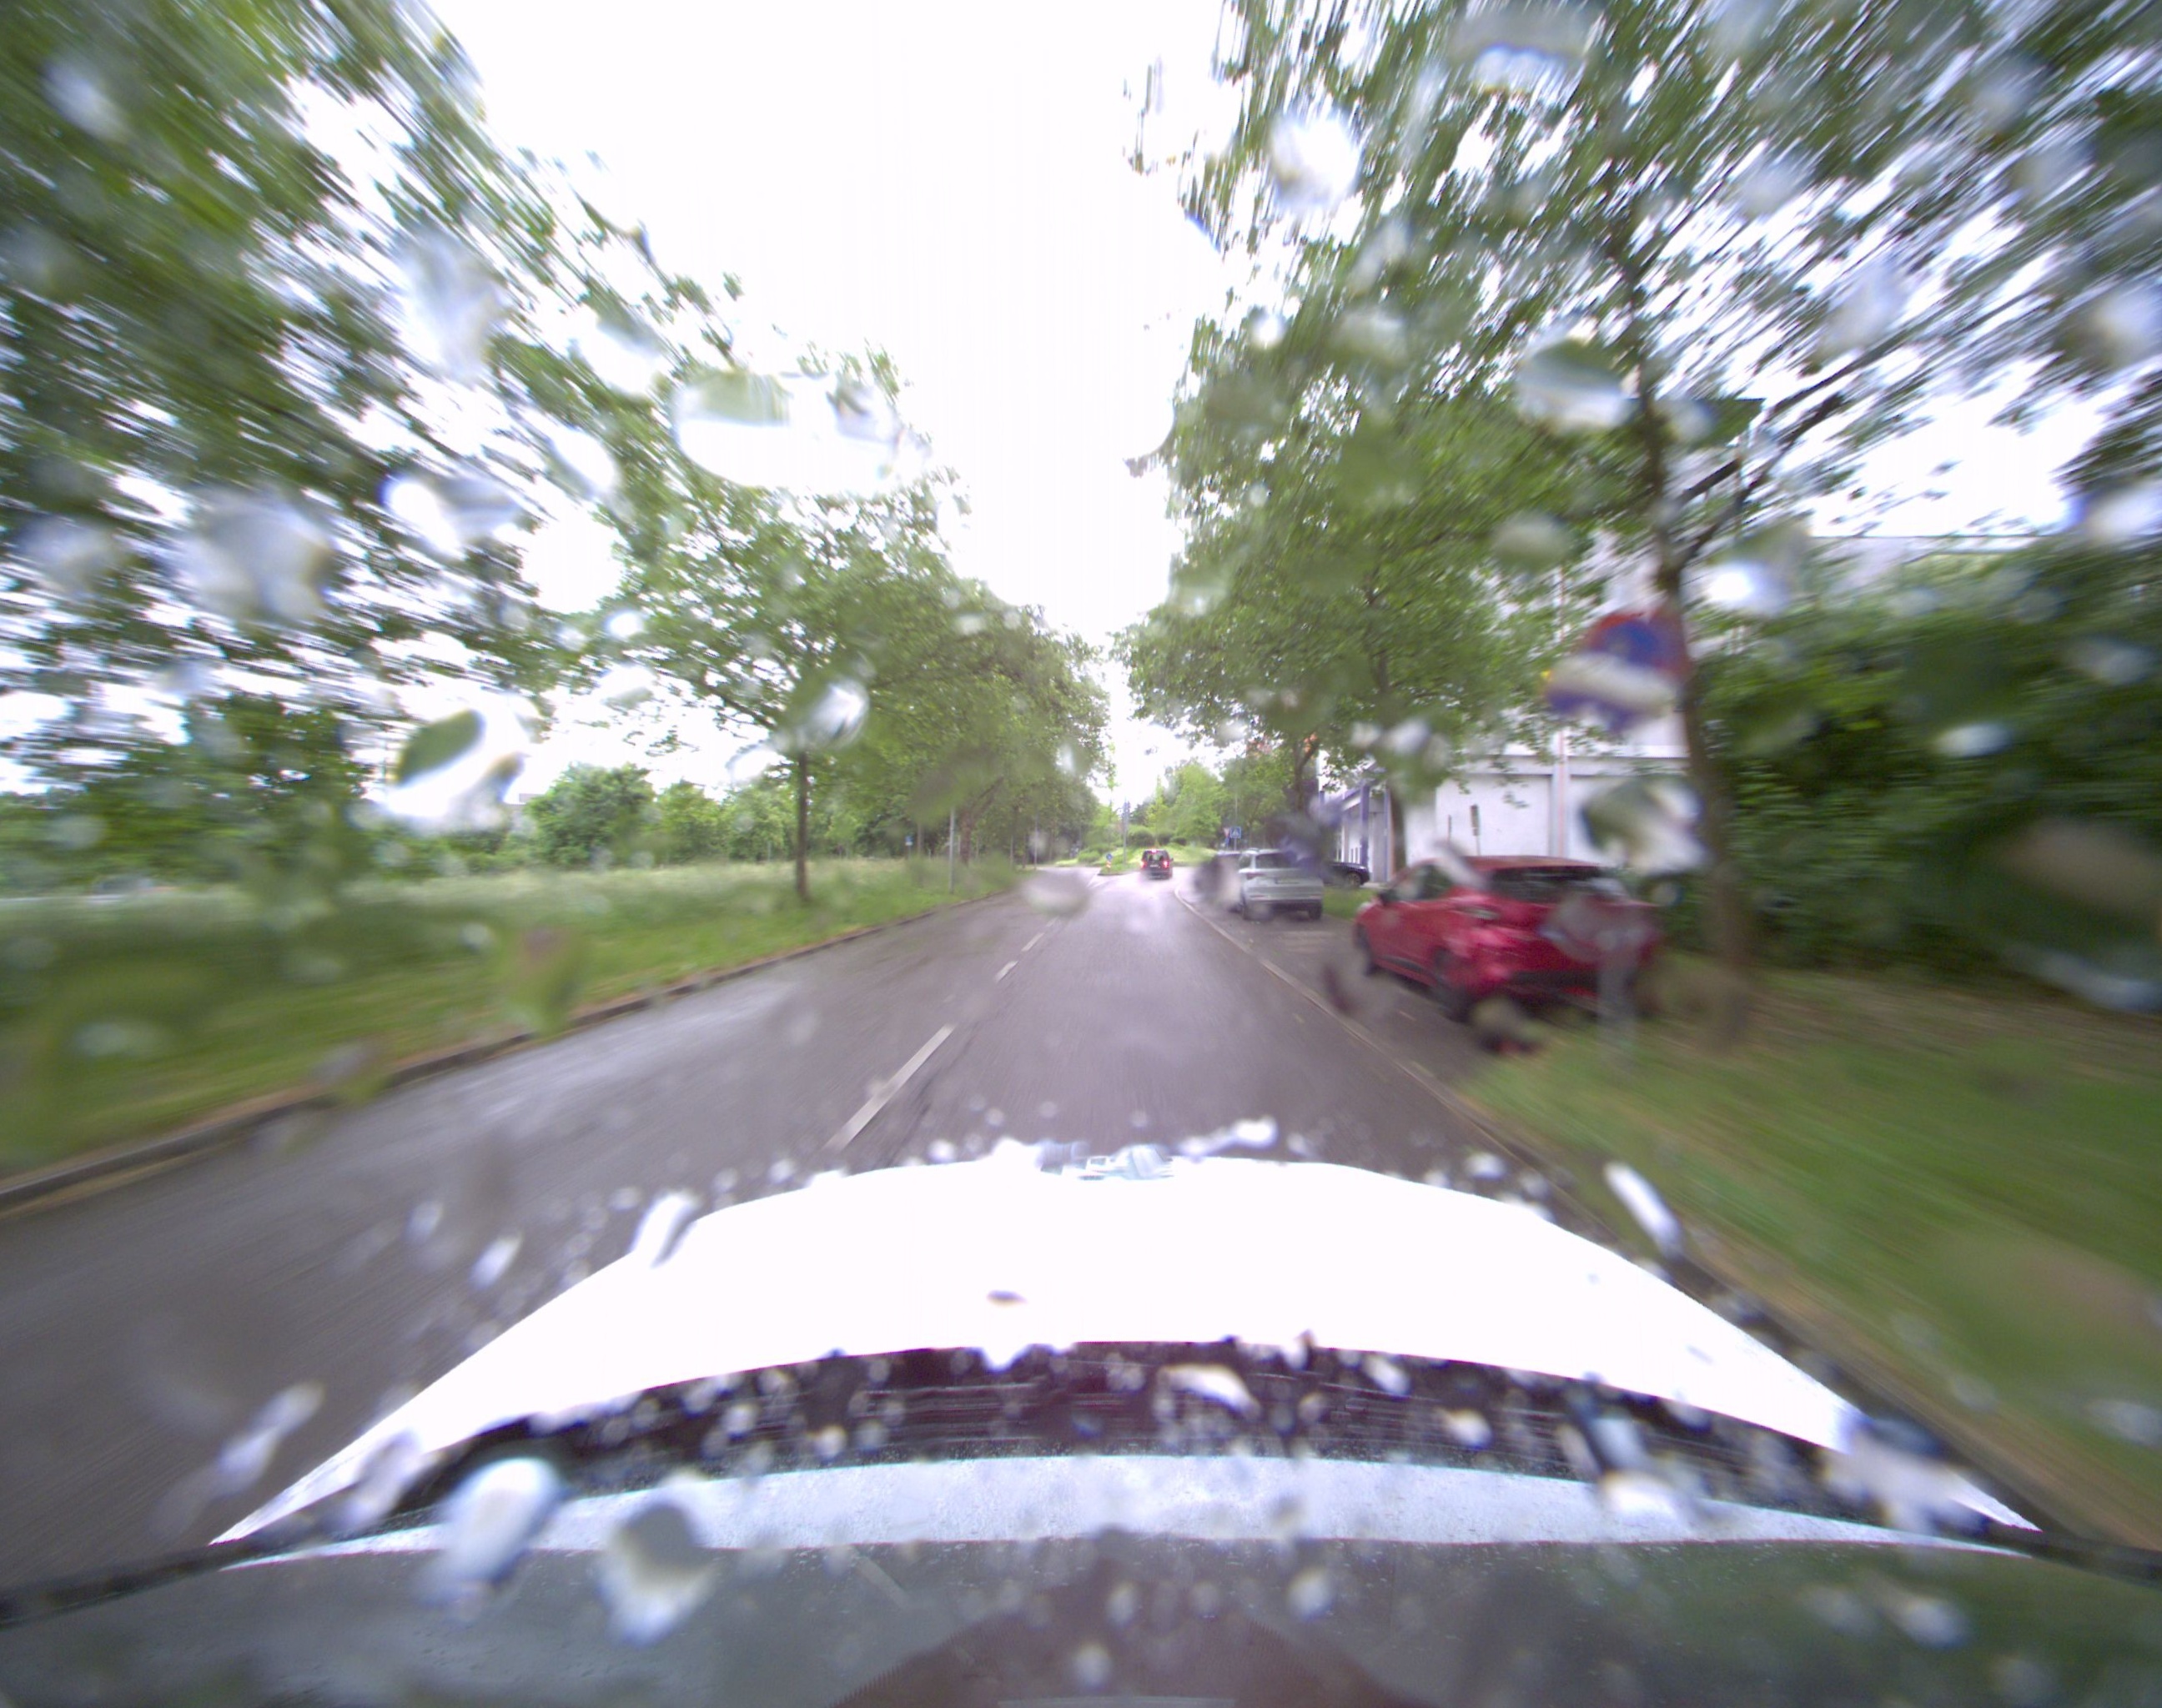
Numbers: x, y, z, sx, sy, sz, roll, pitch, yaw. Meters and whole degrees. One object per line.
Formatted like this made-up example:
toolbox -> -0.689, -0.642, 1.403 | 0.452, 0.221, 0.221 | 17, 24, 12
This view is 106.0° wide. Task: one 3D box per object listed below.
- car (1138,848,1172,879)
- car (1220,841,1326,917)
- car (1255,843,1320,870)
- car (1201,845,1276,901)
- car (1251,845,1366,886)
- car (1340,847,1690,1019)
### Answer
car -> 4.646, 0.581, 50.732 | 1.907, 1.801, 3.798 | -2, 0, 8
car -> 4.506, 0.556, 19.716 | 1.721, 1.591, 4.256 | -2, 0, 3
car -> 14.803, 0.164, 58.468 | 4.351, 1.758, 1.834 | 2, 2, 9
car -> 4.859, 0.562, 25.691 | 1.793, 1.602, 4.376 | -1, 0, 4
car -> 9.568, 0.459, 34.503 | 4.450, 1.680, 1.770 | 0, 1, 4
car -> 4.107, 0.652, 8.477 | 1.790, 1.372, 3.747 | -1, 0, 3
